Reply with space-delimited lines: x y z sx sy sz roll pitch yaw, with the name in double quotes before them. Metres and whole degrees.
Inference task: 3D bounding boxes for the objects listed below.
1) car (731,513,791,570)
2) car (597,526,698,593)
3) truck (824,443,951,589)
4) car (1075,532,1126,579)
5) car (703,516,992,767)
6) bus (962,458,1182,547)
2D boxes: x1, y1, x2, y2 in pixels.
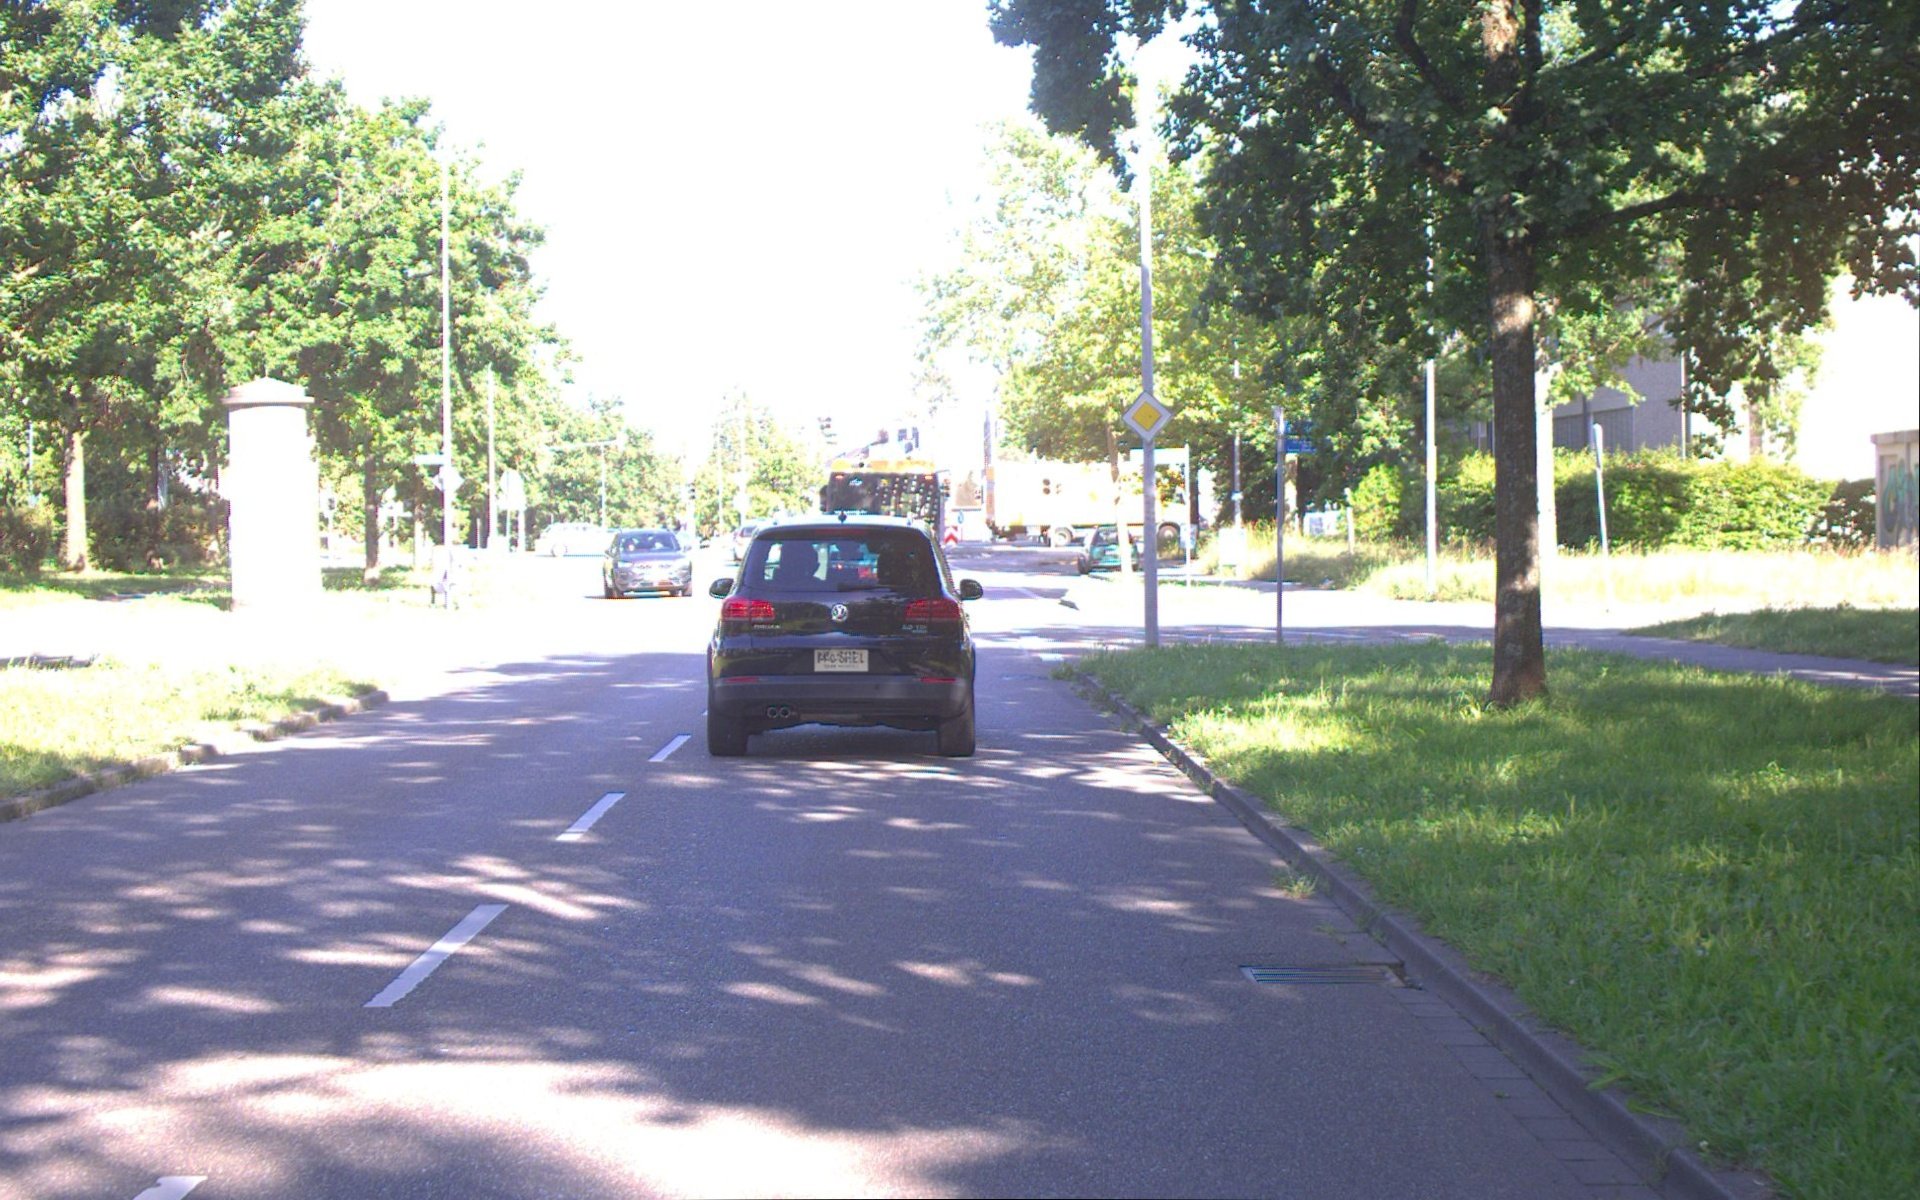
"car" -7.184 -2.131 123.864 1.993 2.007 4.001 1 2 -5
"car" -7.237 -0.961 79.887 1.993 1.450 4.000 -1 2 -1
"truck" -1.633 -2.006 81.352 2.512 3.232 8.152 -1 2 2
"car" 4.285 -1.369 105.212 1.452 1.401 2.856 1 2 1
"car" -0.726 0.224 24.692 1.782 1.628 4.000 1 2 2
"bus" 4.883 -4.269 150.823 9.101 3.765 3.388 0 1 -9
